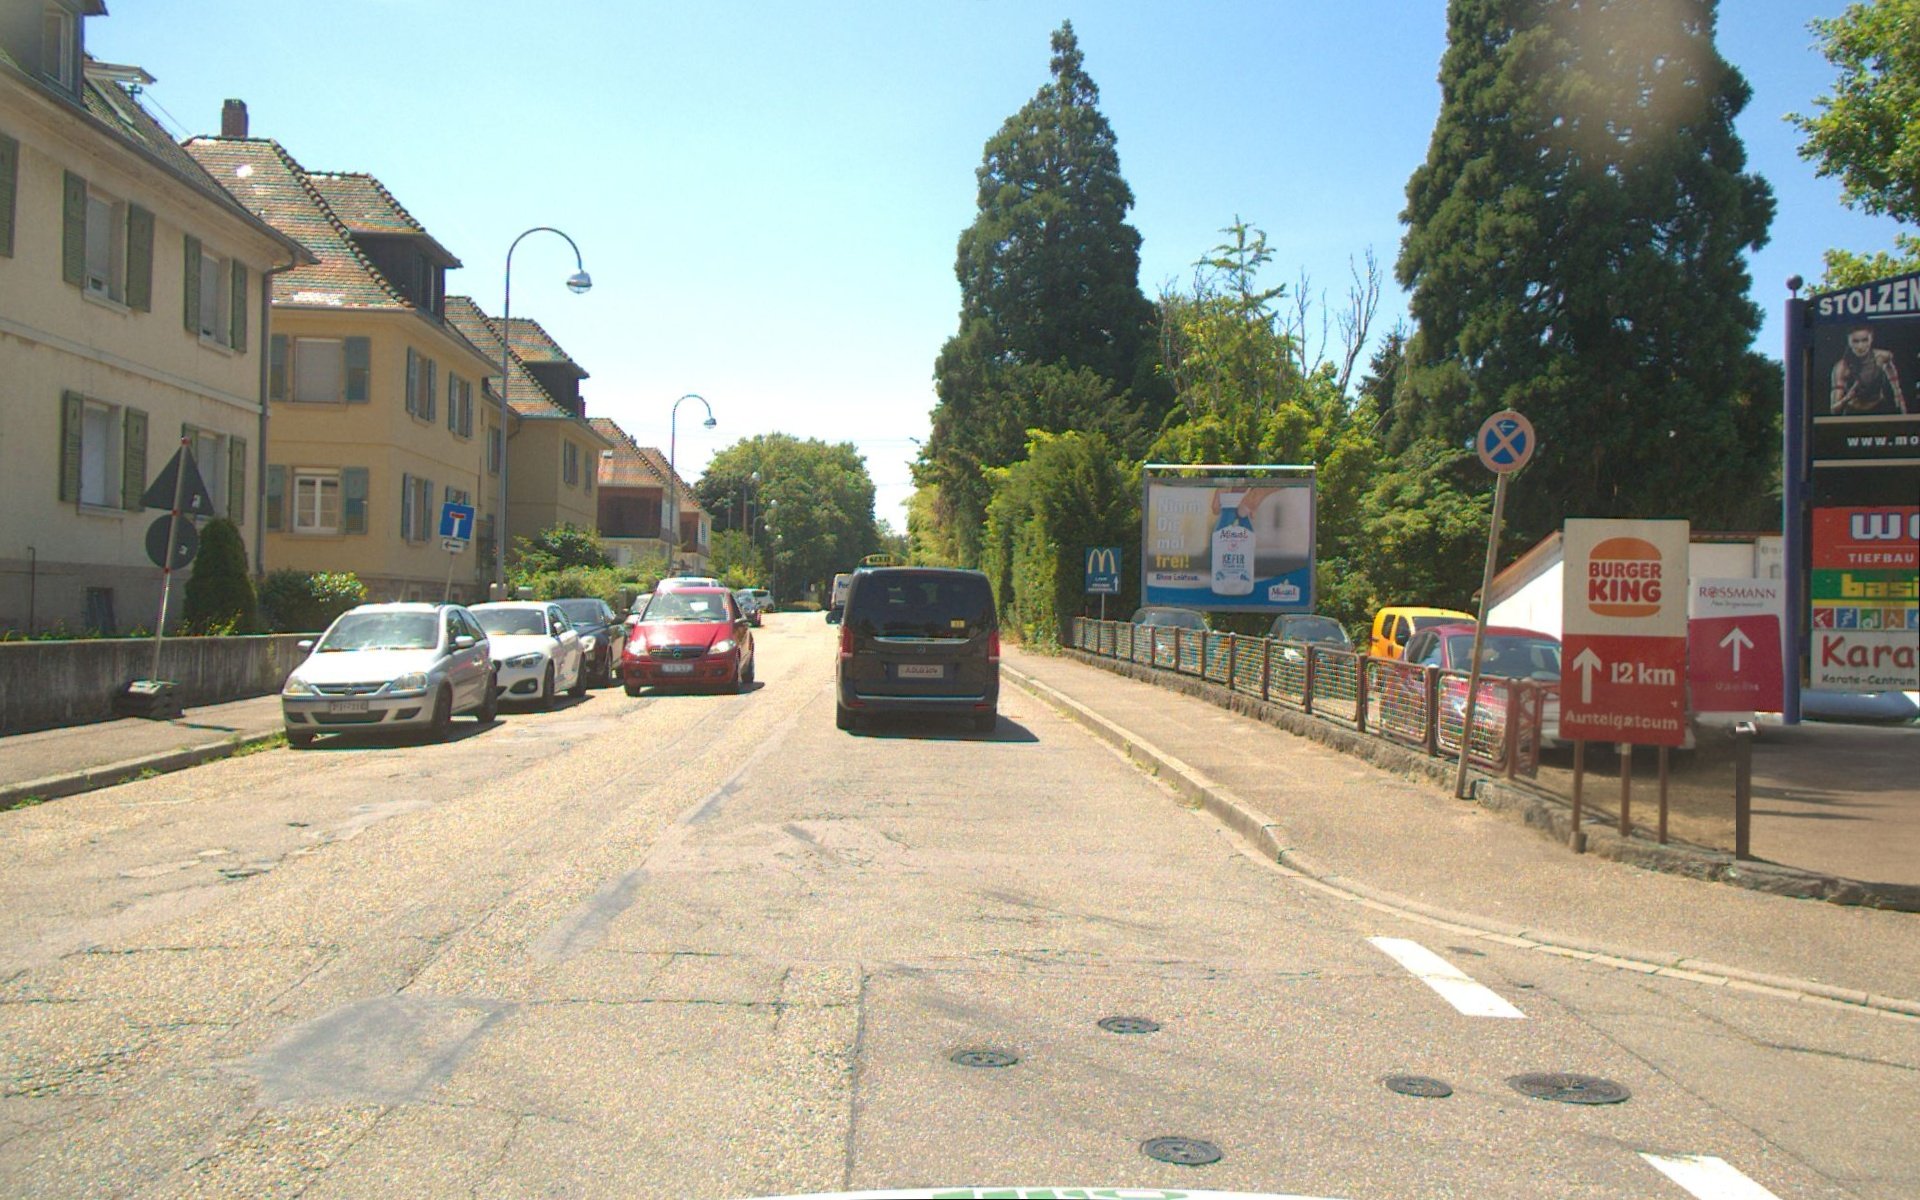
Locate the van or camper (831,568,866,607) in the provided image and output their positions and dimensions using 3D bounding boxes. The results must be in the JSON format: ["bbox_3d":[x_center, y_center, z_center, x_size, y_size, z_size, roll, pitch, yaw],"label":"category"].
[{"bbox_3d":[-7.528,-0.829,111.377,2.219,2.572,4.753,0,0,-6],"label":"van or camper"}]

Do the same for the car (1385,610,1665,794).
[{"bbox_3d":[5.349,0.887,16.151,1.675,1.550,3.841,1,0,4],"label":"car"}]

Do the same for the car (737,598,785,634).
[{"bbox_3d":[-8.199,0.648,68.450,1.633,1.410,4.377,-1,0,-3],"label":"car"}]

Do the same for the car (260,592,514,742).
[{"bbox_3d":[-6.282,0.673,18.587,1.724,1.473,3.921,-1,0,-4],"label":"car"}]

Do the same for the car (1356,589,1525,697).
[{"bbox_3d":[9.277,0.796,32.274,1.740,1.831,4.162,5,0,-4],"label":"car"}]

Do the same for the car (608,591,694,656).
[{"bbox_3d":[-7.858,0.570,42.322,1.653,1.552,4.059,1,0,-4],"label":"car"}]

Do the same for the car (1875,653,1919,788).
[{"bbox_3d":[10.171,1.218,15.382,1.675,1.292,3.387,1,0,5],"label":"car"}]

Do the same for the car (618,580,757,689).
[{"bbox_3d":[-4.253,0.504,26.274,1.778,1.593,3.694,0,0,-3],"label":"car"}]

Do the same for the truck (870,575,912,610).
[{"bbox_3d":[-4.711,-0.474,111.979,2.311,2.298,6.082,1,0,-7],"label":"truck"}]

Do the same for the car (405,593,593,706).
[{"bbox_3d":[-6.386,0.640,23.366,1.759,1.426,4.215,-1,0,-4],"label":"car"}]

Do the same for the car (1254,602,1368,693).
[{"bbox_3d":[6.874,0.904,32.677,1.597,1.570,3.394,5,0,3],"label":"car"}]

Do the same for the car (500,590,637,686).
[{"bbox_3d":[-6.689,0.624,28.623,1.682,1.511,4.072,-1,0,-5],"label":"car"}]

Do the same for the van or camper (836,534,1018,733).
[{"bbox_3d":[-0.491,0.362,20.140,1.865,2.049,5.266,2,0,-3],"label":"van or camper"}]

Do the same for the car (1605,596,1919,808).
[{"bbox_3d":[7.753,0.870,16.048,1.675,1.694,4.463,3,0,7],"label":"car"}]

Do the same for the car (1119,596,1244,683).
[{"bbox_3d":[4.303,0.736,32.556,1.600,1.484,3.552,5,0,-5],"label":"car"}]

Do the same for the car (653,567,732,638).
[{"bbox_3d":[-8.048,0.057,50.098,1.841,1.997,4.622,-1,0,-4],"label":"car"}]
